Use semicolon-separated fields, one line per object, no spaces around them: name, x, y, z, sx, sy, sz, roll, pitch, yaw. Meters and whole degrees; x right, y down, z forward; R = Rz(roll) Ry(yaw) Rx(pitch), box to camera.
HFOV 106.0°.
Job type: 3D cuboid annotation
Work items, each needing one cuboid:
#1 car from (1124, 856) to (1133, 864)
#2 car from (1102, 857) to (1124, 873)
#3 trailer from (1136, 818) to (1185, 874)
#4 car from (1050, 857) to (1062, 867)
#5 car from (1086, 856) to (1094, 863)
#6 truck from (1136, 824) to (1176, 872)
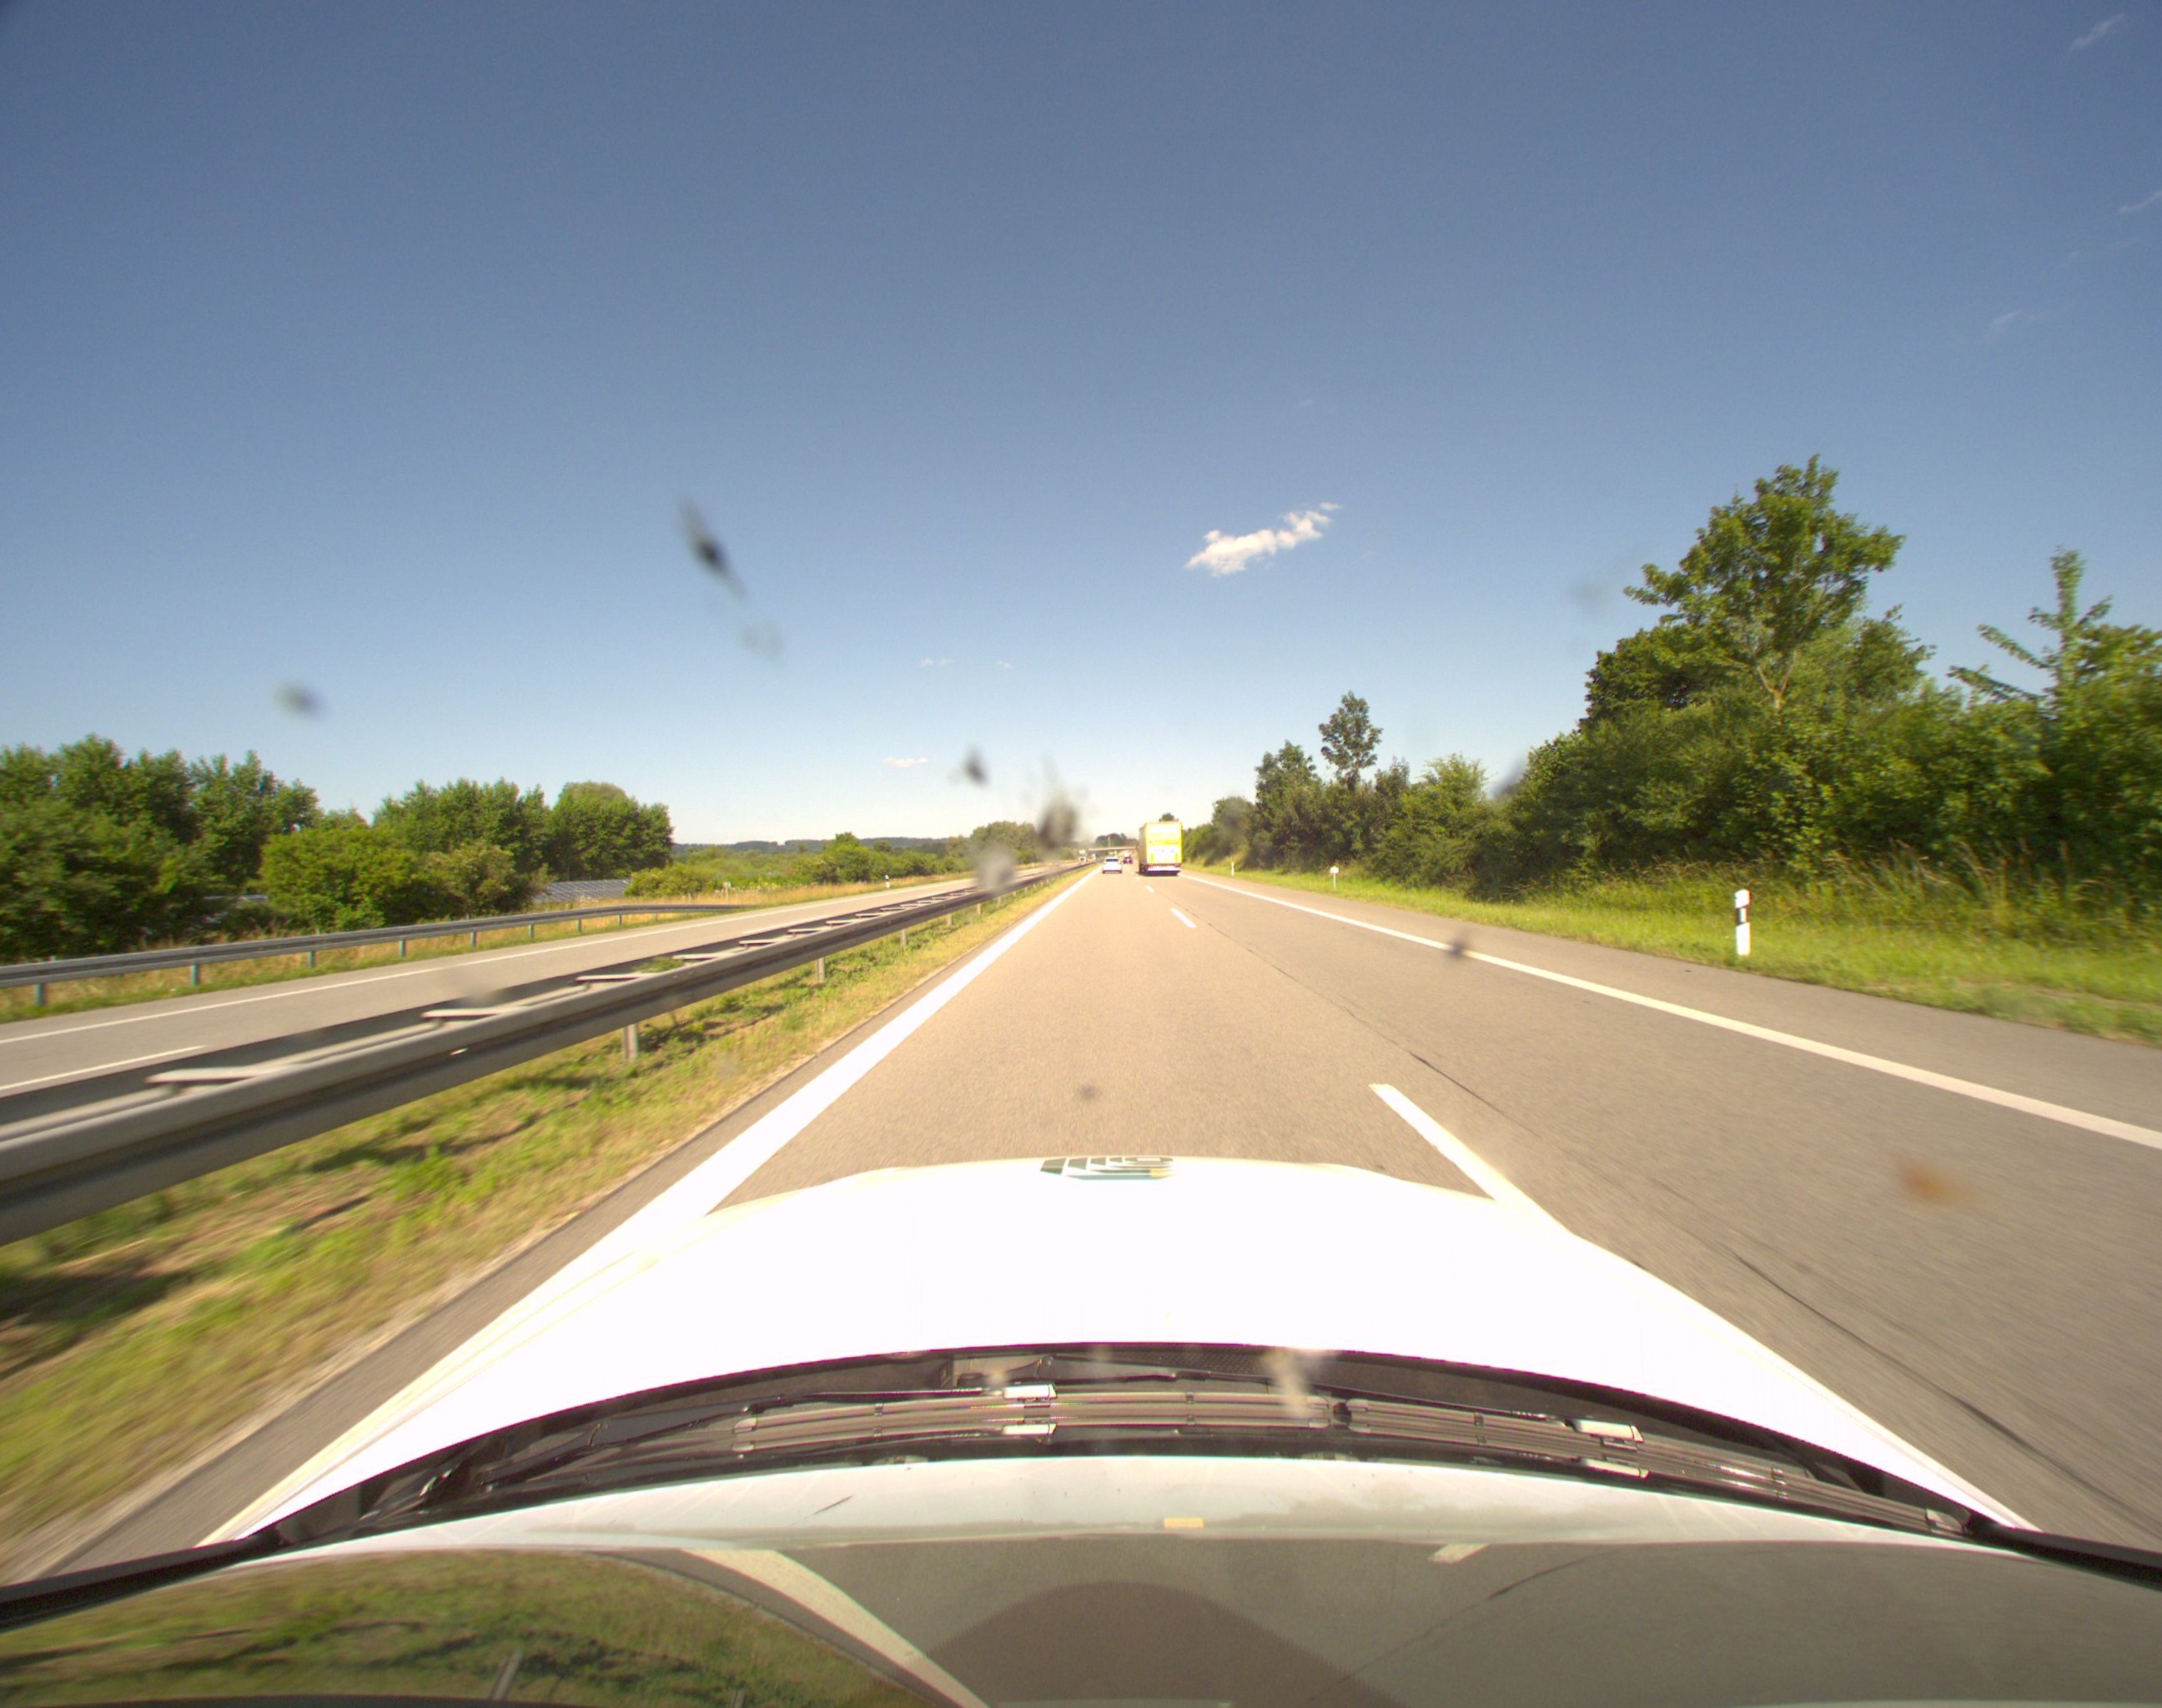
car;9.178;1.134;157.084;1.835;1.520;4.003;0;0;3
car;2.917;0.975;73.413;1.835;1.415;4.003;0;0;3
trailer;6.235;-0.522;65.889;3.172;4.059;13.194;0;0;3
car;-4.548;1.459;149.459;1.723;1.511;4.484;-4;-1;4
car;2.649;1.530;231.503;1.941;1.771;4.754;-4;-1;4
truck;6.616;-0.477;73.074;3.157;4.114;6.390;0;0;1
